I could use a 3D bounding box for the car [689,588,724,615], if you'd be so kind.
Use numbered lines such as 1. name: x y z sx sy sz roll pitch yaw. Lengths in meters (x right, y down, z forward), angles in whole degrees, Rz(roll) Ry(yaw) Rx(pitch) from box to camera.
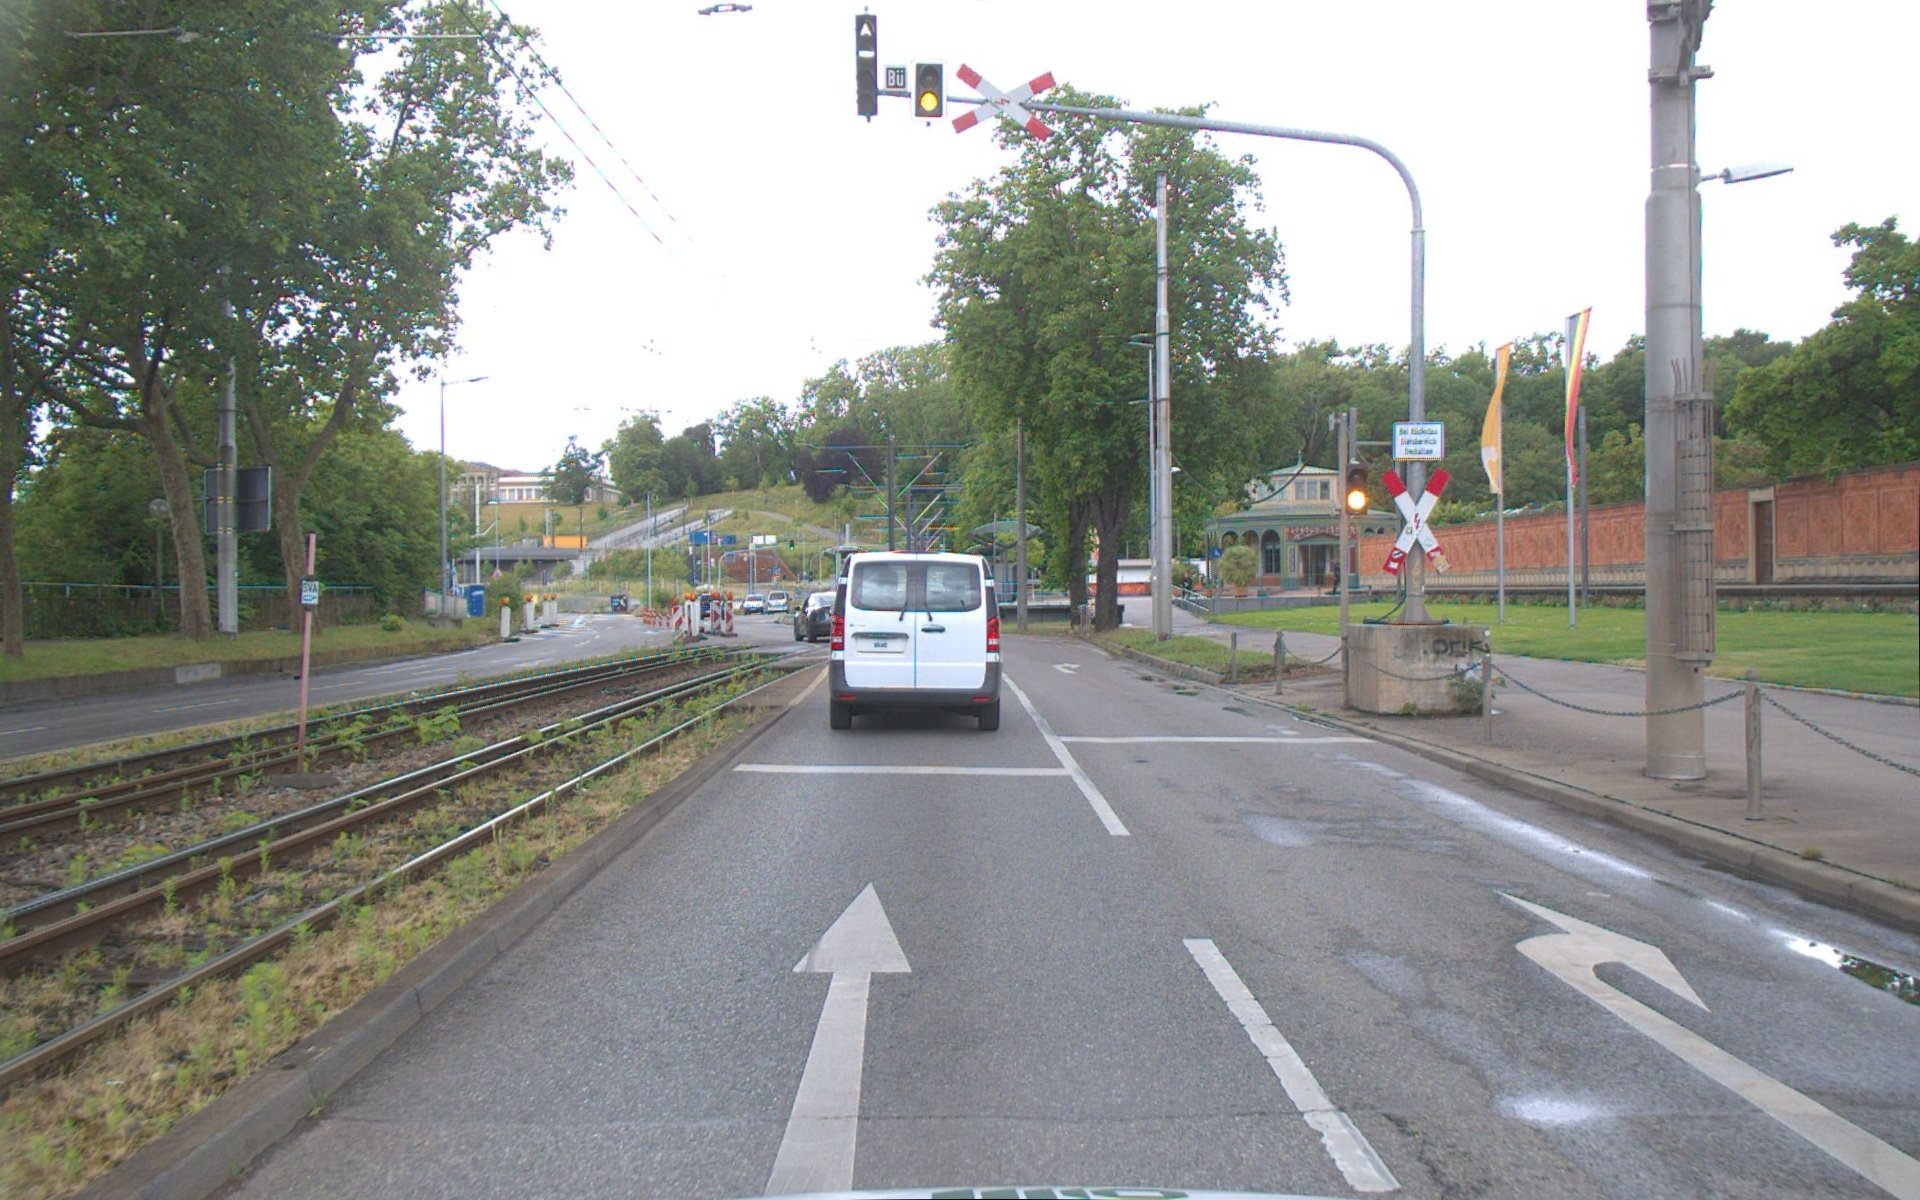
1. car: -14.753 0.074 96.113 1.806 1.493 4.049 1 0 -12

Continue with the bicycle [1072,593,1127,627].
1. bicycle: 5.049 0.356 59.798 1.949 1.178 0.741 -1 0 4

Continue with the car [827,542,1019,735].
1. car: -0.418 0.390 18.908 1.919 1.937 4.460 0 0 -1

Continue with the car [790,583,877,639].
1. car: -3.815 0.314 49.417 1.809 1.610 4.044 1 0 -16

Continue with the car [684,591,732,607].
1. car: -26.672 -0.127 175.348 4.608 1.503 2.002 -2 1 10

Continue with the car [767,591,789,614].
1. car: -14.860 0.208 135.114 1.718 1.803 3.995 1 0 -6

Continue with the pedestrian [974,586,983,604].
1. pedestrian: 1.308 -0.358 118.831 0.644 1.212 0.676 1 0 1

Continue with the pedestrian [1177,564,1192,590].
1. pedestrian: 10.753 -1.087 79.249 0.537 1.222 0.668 1 -1 -7

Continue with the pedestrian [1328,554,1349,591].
1. pedestrian: 19.185 -1.386 83.878 0.929 1.870 0.550 1 -1 5

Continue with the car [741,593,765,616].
1. car: -18.796 0.439 150.338 1.896 2.049 3.996 1 0 -5
